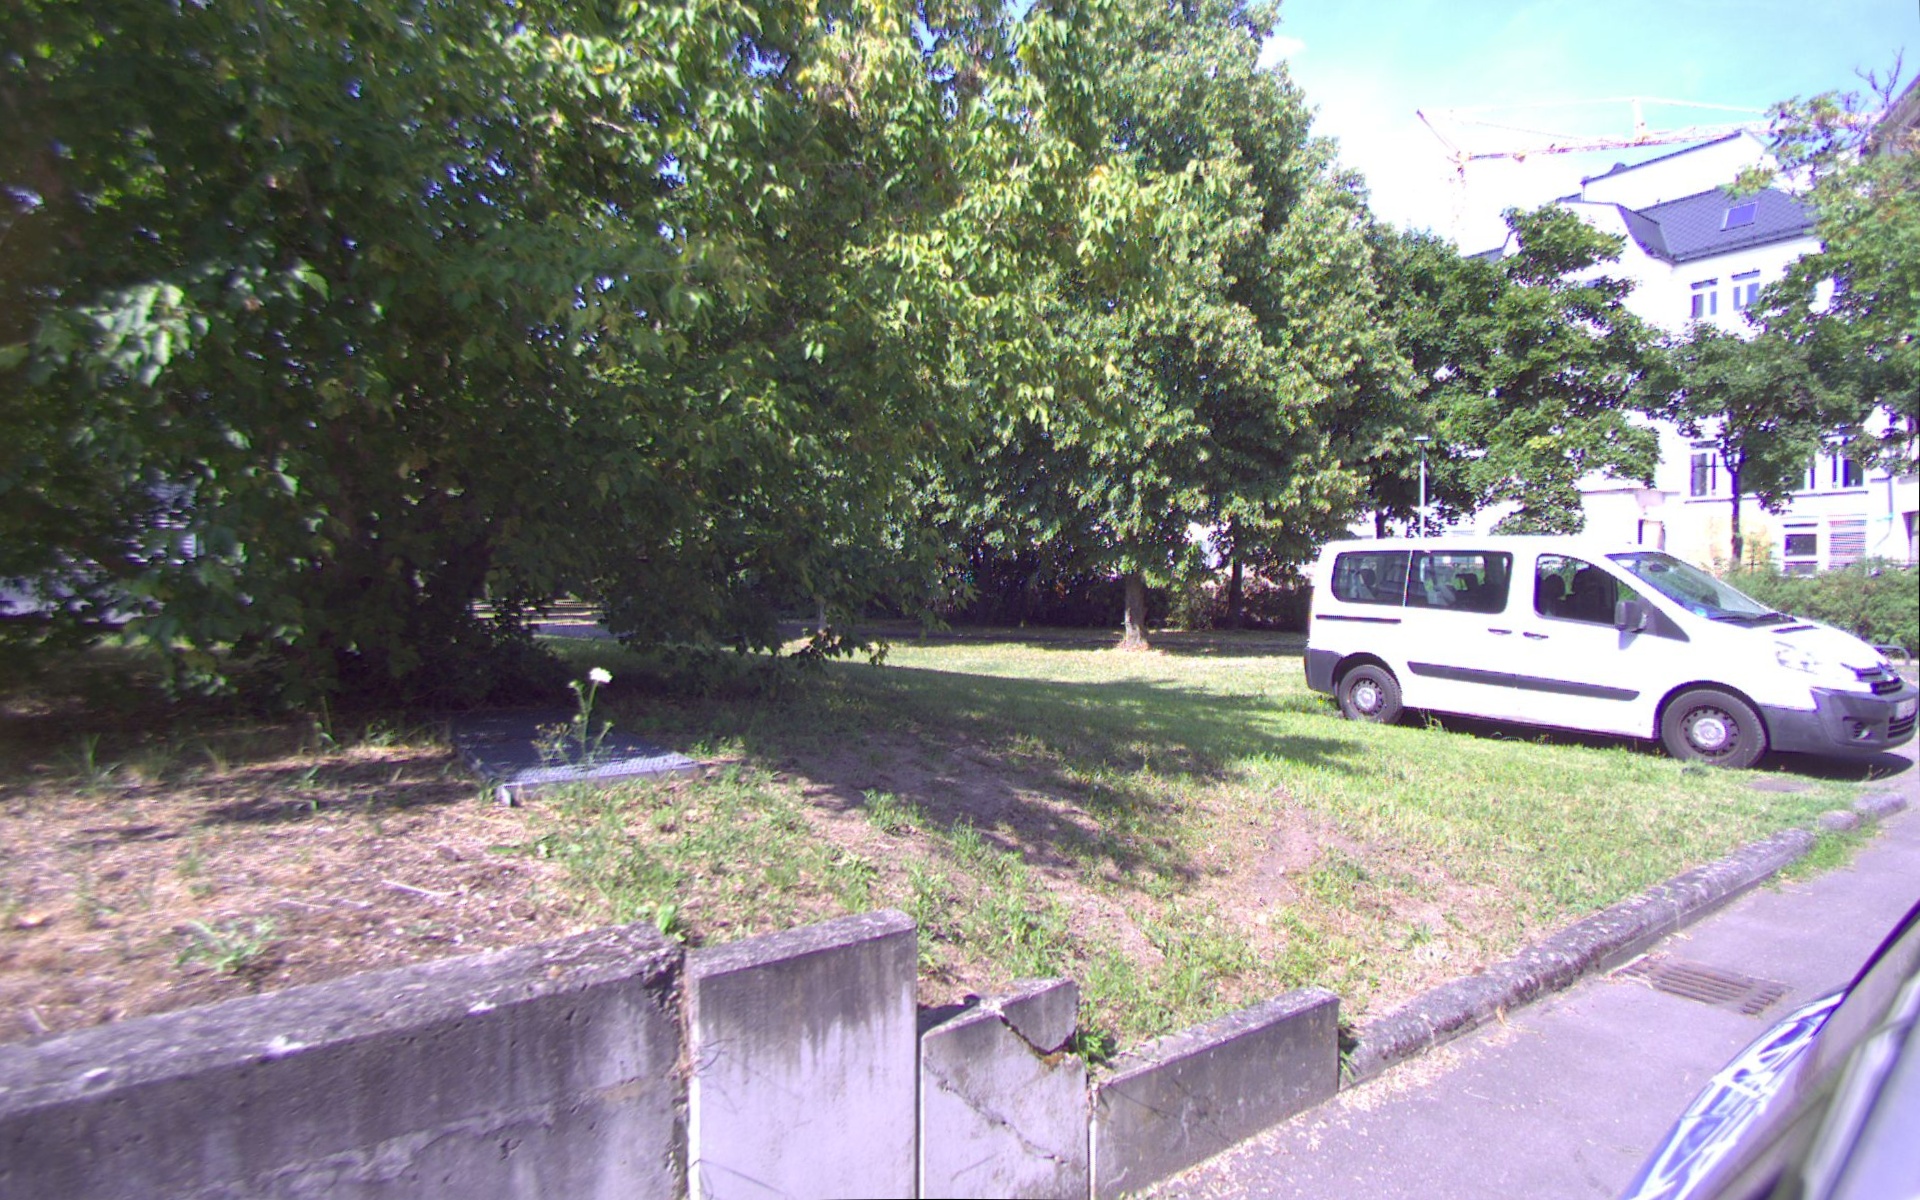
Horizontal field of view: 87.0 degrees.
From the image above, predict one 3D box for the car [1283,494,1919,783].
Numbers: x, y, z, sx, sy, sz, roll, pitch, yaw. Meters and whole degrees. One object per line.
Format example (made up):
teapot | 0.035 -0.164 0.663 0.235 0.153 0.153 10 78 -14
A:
car | 5.735 0.219 9.516 1.961 1.957 5.042 0 1 -33
